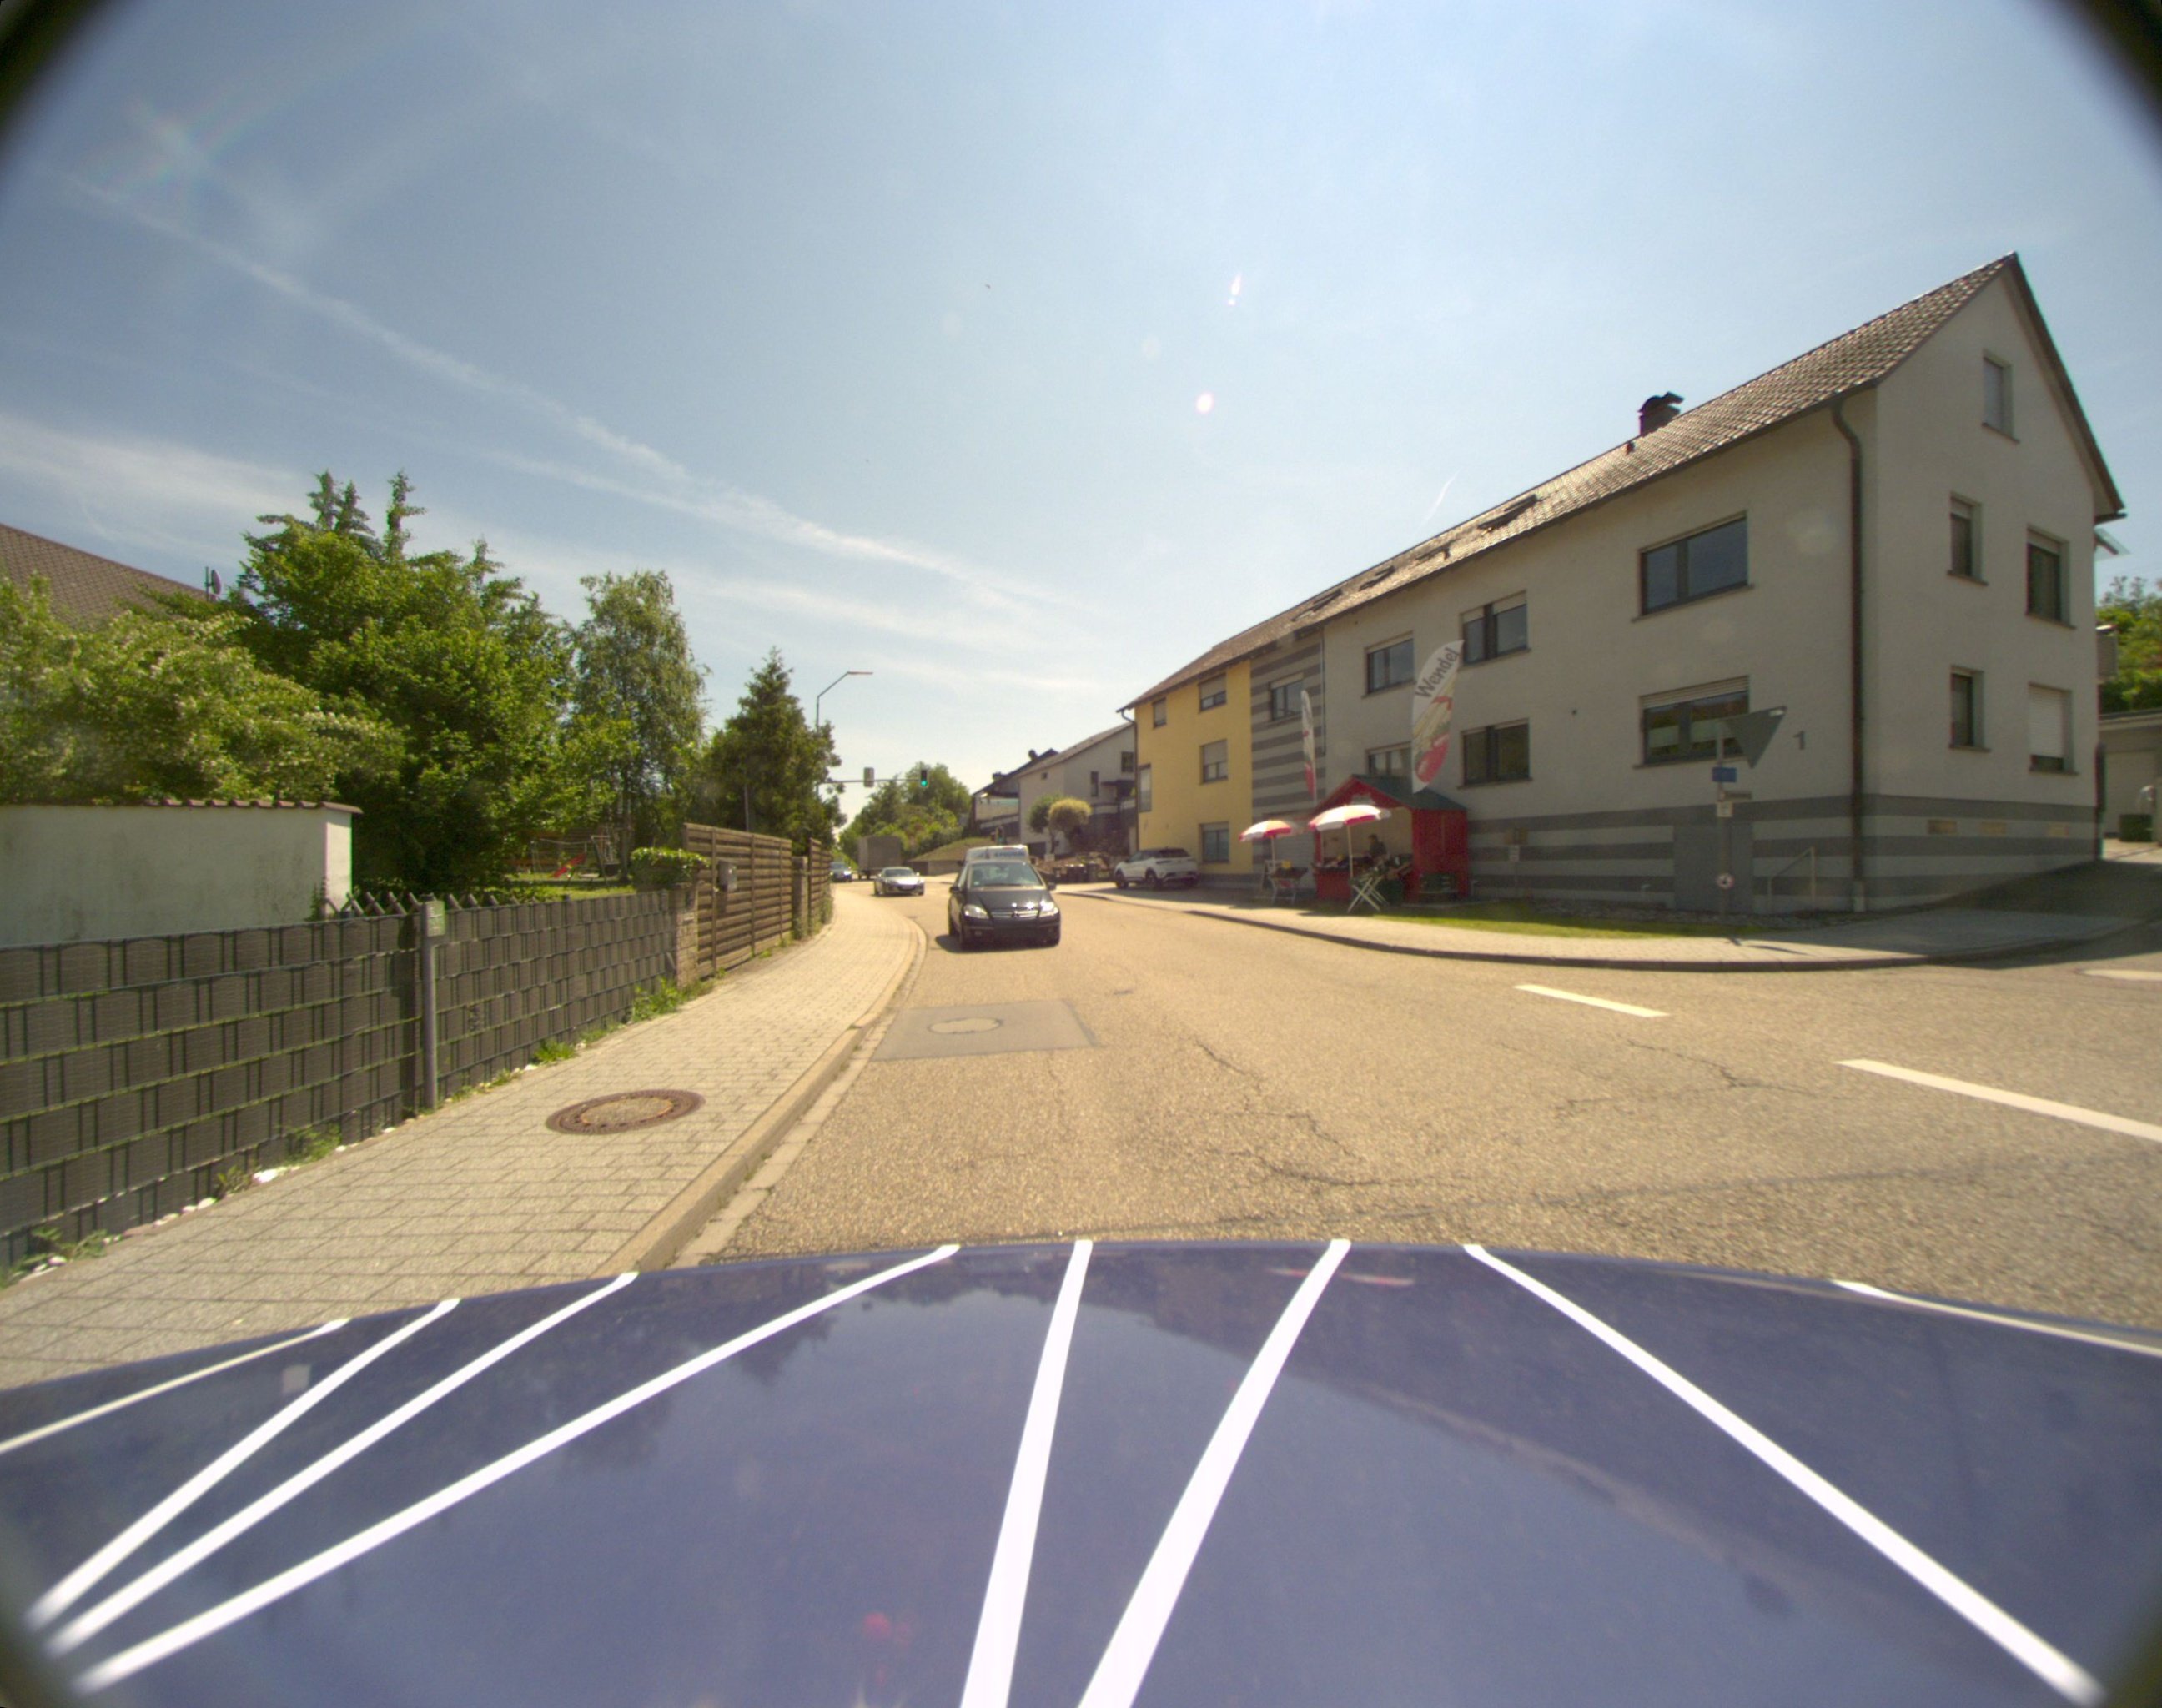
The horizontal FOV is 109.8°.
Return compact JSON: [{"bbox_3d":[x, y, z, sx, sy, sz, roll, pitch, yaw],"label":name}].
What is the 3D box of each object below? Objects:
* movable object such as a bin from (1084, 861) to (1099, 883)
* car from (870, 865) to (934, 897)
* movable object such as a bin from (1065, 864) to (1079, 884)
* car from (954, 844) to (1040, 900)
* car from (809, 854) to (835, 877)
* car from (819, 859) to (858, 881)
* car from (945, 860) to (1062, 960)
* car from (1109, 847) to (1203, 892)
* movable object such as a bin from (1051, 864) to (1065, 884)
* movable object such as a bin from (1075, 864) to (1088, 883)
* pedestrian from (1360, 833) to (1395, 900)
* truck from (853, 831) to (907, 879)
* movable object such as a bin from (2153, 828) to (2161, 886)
[{"bbox_3d":[0.522,0.869,37.560,0.473,1.049,0.633,-2,1,-24],"label":"movable object such as a bin"},{"bbox_3d":[-8.044,1.171,33.901,1.817,1.306,3.991,-1,0,-27],"label":"car"},{"bbox_3d":[-0.451,0.984,37.181,0.449,0.923,0.560,-2,1,-24],"label":"movable object such as a bin"},{"bbox_3d":[-3.538,0.662,31.060,2.002,1.988,5.204,-3,1,-23],"label":"car"},{"bbox_3d":[-22.690,0.991,66.439,1.870,1.897,5.028,-2,0,-21],"label":"car"},{"bbox_3d":[-16.796,1.080,52.485,1.901,1.368,3.991,-1,0,-27],"label":"car"},{"bbox_3d":[-1.667,0.957,14.967,1.766,1.583,4.193,-2,1,-12],"label":"car"},{"bbox_3d":[2.735,0.537,28.759,1.738,1.543,4.180,-1,0,-23],"label":"car"},{"bbox_3d":[-1.110,0.979,36.920,0.503,0.942,0.553,-2,1,-24],"label":"movable object such as a bin"},{"bbox_3d":[0.008,0.959,37.417,0.449,0.932,0.530,-1,1,-24],"label":"movable object such as a bin"},{"bbox_3d":[7.161,0.290,18.381,0.612,1.578,0.809,-1,1,10],"label":"pedestrian"},{"bbox_3d":[-15.567,0.091,58.388,2.477,3.348,7.601,-4,1,-25],"label":"truck"},{"bbox_3d":[17.734,0.049,12.146,0.601,0.928,0.599,-1,0,-25],"label":"movable object such as a bin"}]
